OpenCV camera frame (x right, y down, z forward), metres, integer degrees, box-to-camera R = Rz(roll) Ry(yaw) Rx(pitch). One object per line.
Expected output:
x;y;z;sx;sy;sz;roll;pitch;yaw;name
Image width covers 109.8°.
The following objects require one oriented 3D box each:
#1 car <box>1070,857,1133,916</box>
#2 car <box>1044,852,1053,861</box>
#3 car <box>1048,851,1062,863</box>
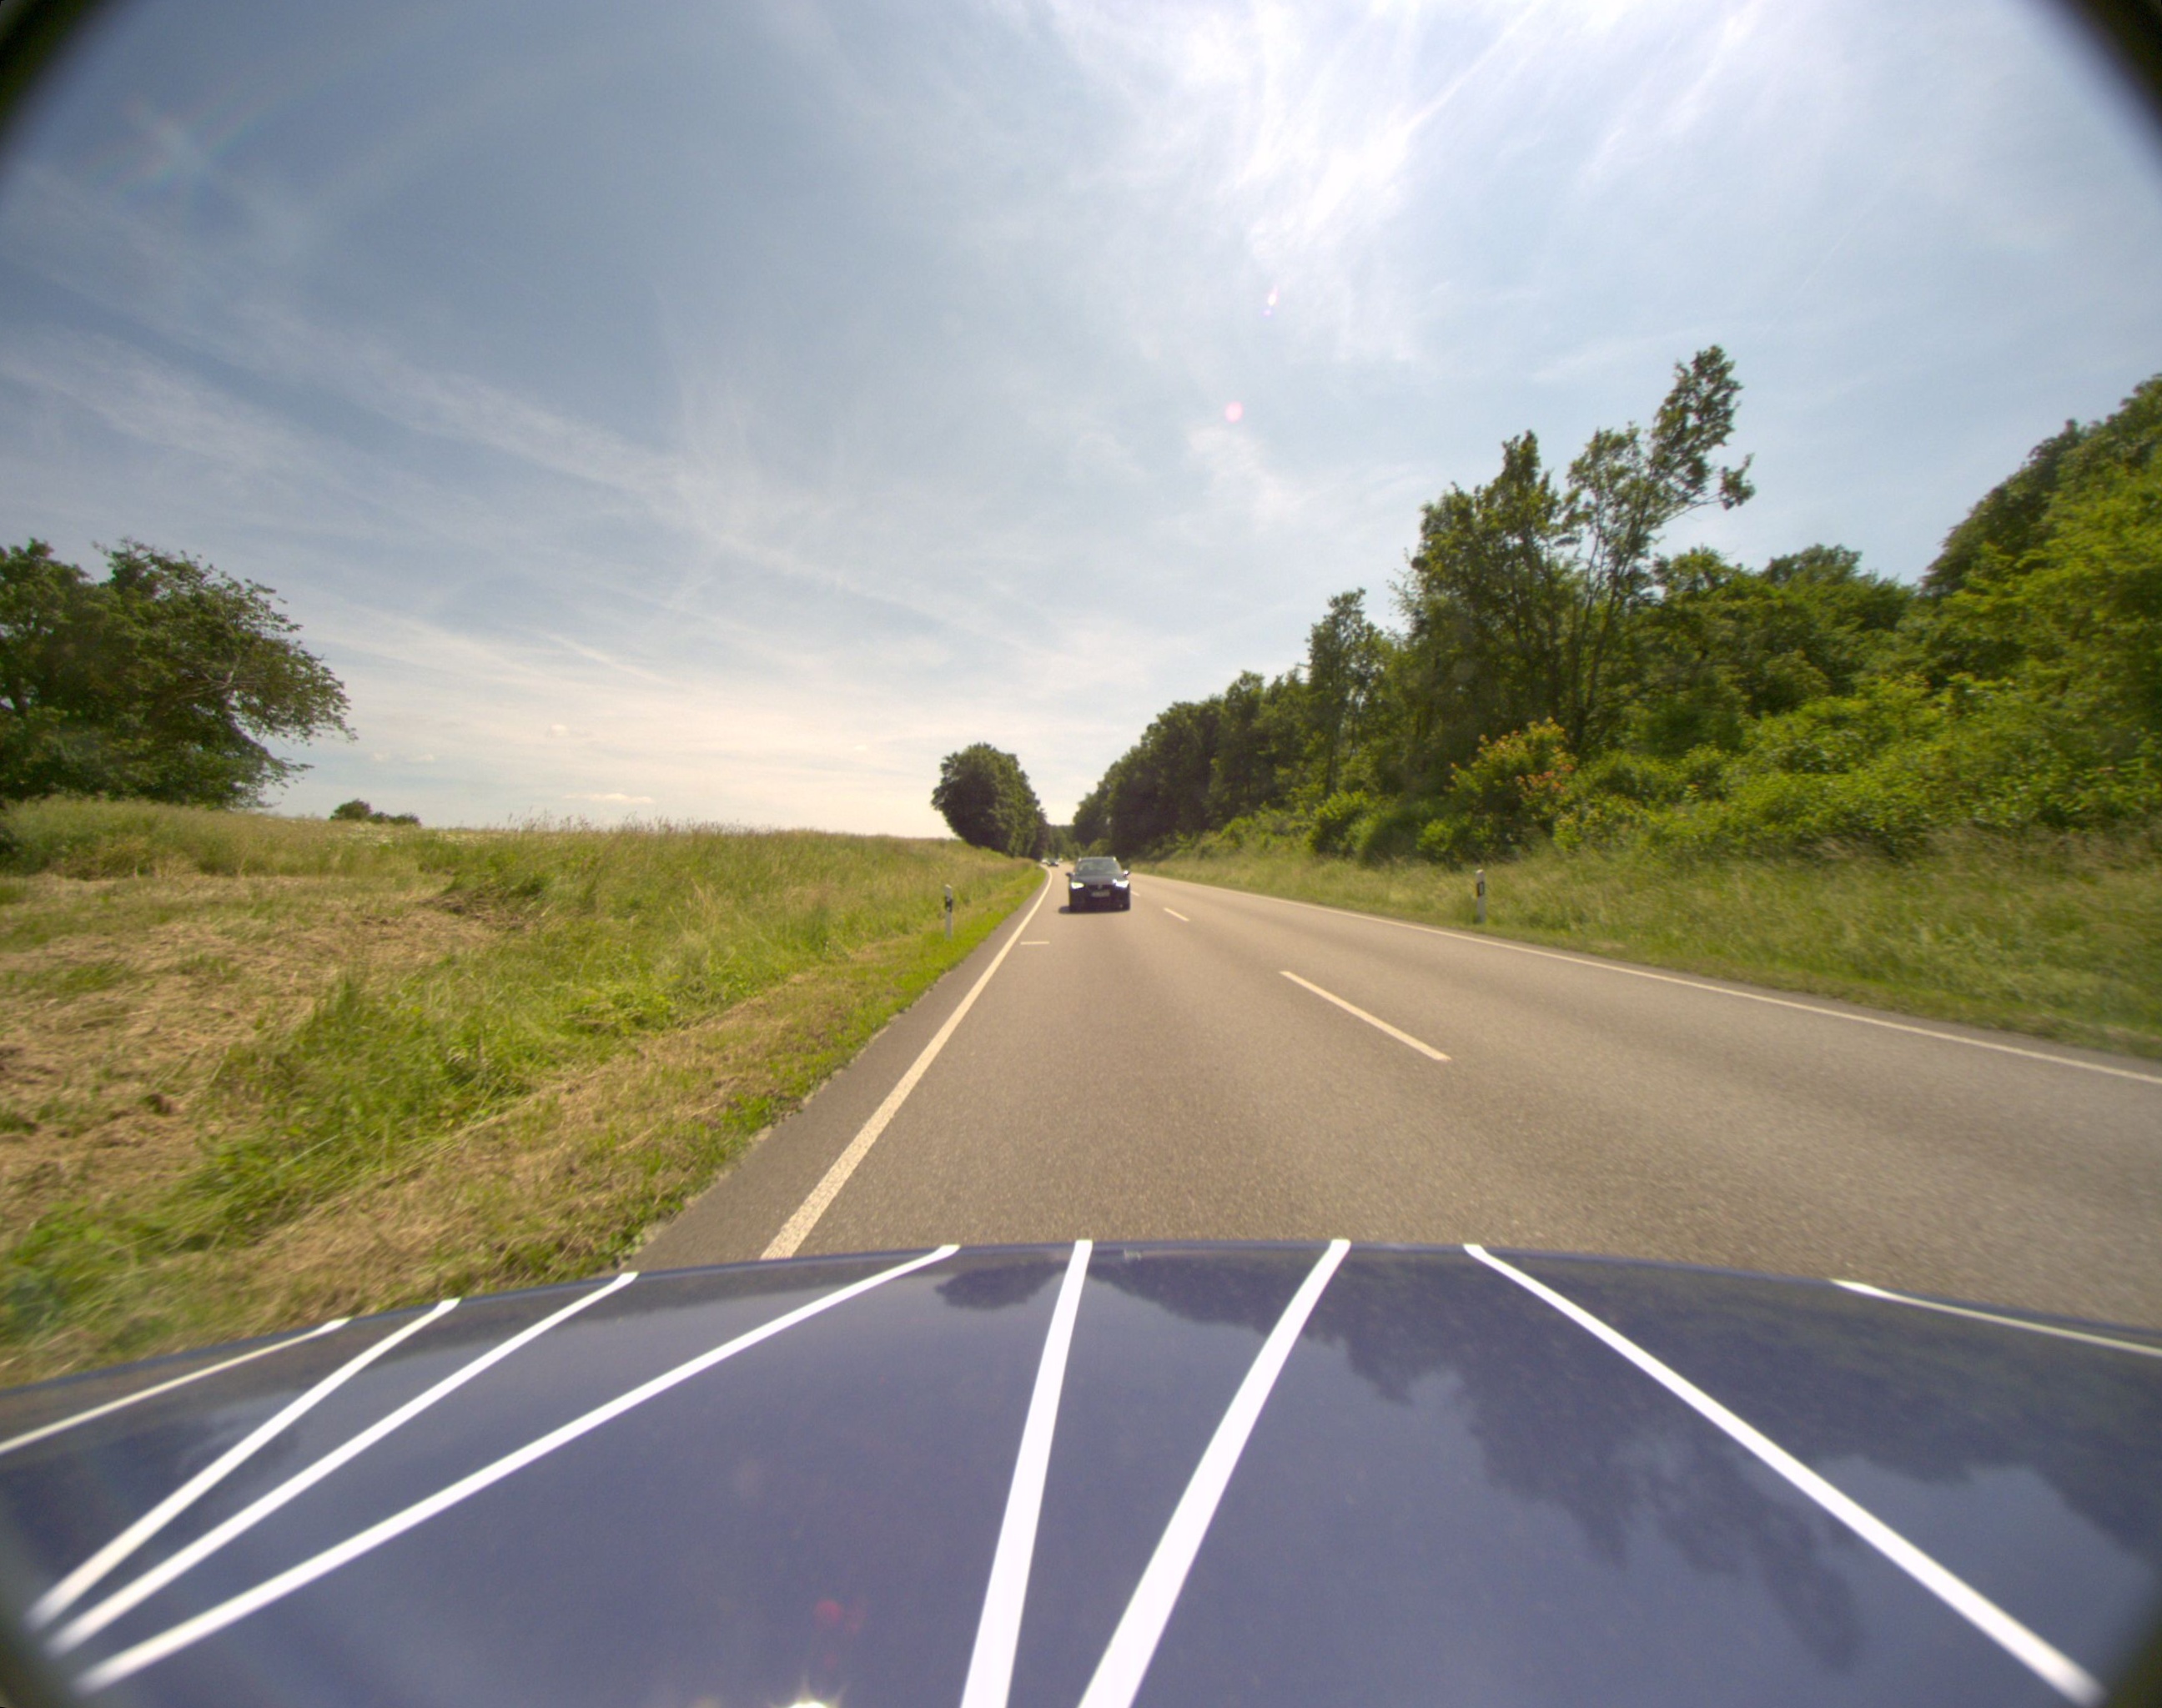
0.567;0.887;22.409;1.662;1.531;3.487;-2;0;0;car
-7.866;0.666;185.053;1.999;2.002;3.998;-3;0;-5;car
-4.515;0.502;133.037;2.000;2.002;3.997;-3;0;-7;car
